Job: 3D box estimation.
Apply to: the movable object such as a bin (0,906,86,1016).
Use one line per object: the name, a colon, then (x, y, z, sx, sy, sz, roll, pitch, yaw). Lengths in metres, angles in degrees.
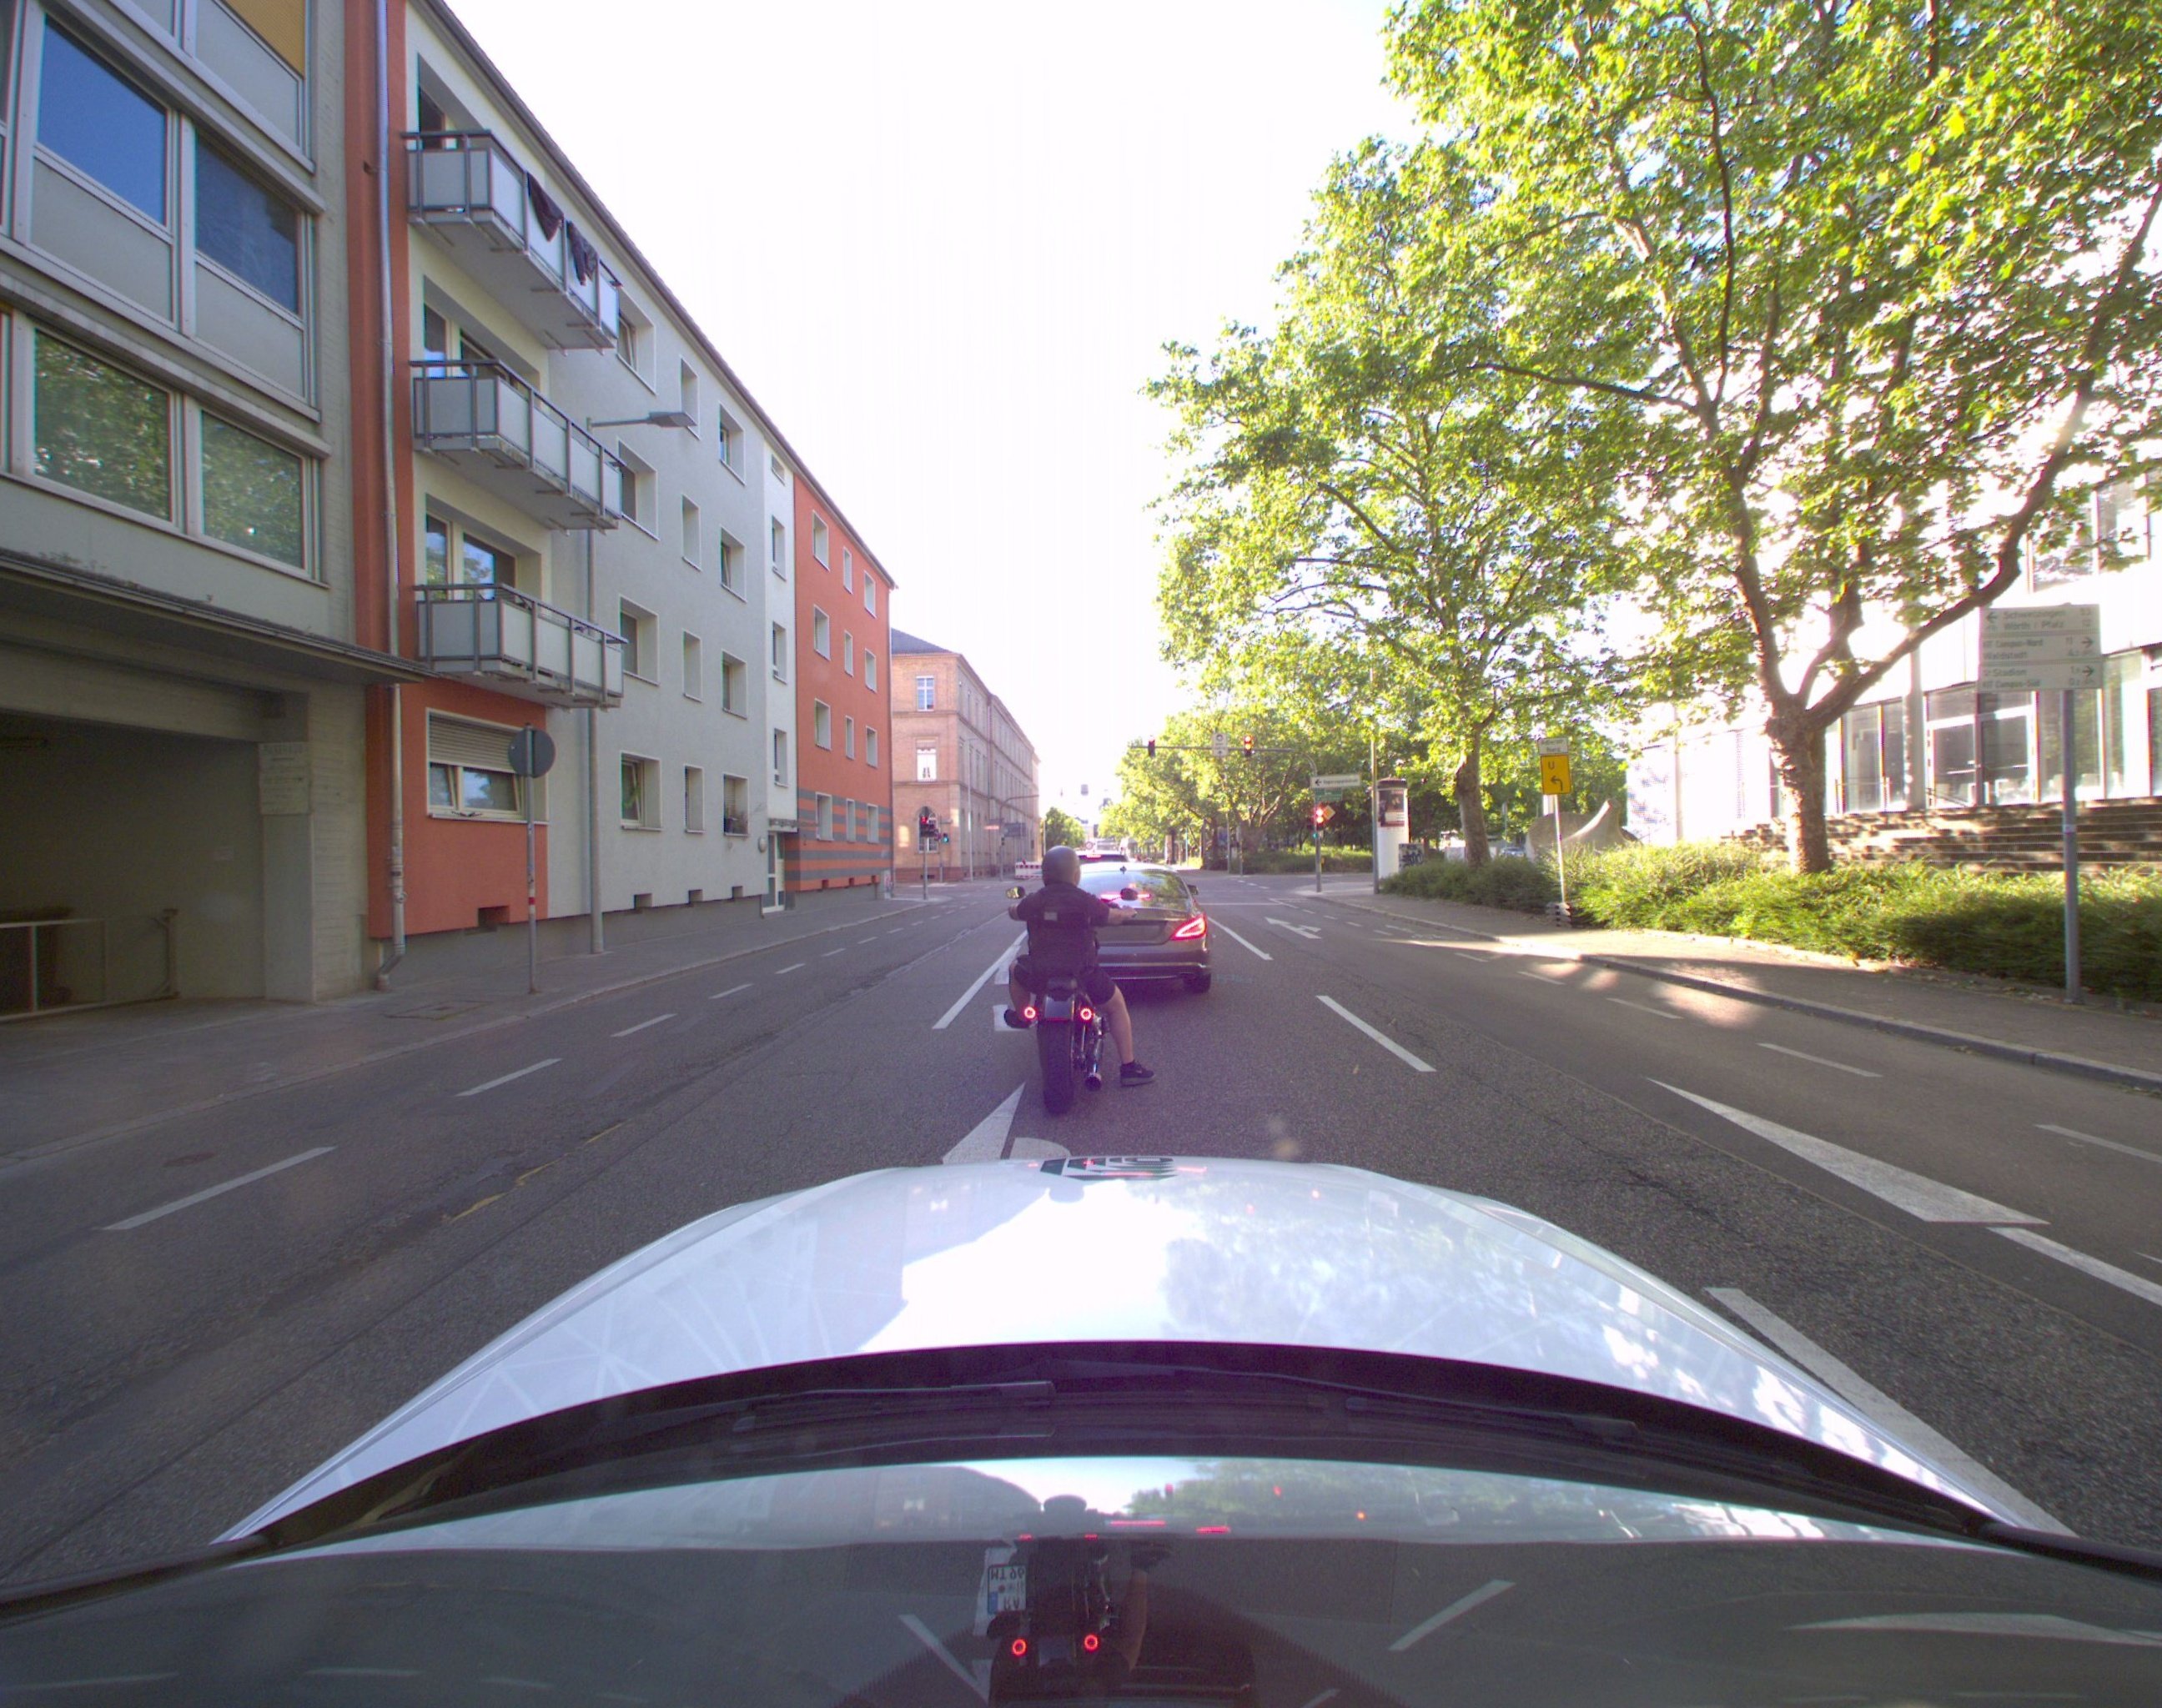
movable object such as a bin: (-11.288, 1.117, 8.647, 0.533, 1.079, 0.723, 0, -1, 3)

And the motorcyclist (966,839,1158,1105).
motorcyclist: (-0.074, 0.705, 5.404, 1.093, 1.566, 1.074, 0, -1, 8)

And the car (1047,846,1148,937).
car: (0.377, 0.712, 17.068, 1.856, 1.678, 4.001, 0, -1, 2)

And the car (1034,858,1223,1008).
car: (0.516, 0.780, 9.779, 1.815, 1.437, 3.807, 0, -1, 2)

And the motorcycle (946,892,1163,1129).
motorcycle: (-0.046, 0.912, 5.622, 1.111, 1.207, 2.217, 0, -1, 8)
